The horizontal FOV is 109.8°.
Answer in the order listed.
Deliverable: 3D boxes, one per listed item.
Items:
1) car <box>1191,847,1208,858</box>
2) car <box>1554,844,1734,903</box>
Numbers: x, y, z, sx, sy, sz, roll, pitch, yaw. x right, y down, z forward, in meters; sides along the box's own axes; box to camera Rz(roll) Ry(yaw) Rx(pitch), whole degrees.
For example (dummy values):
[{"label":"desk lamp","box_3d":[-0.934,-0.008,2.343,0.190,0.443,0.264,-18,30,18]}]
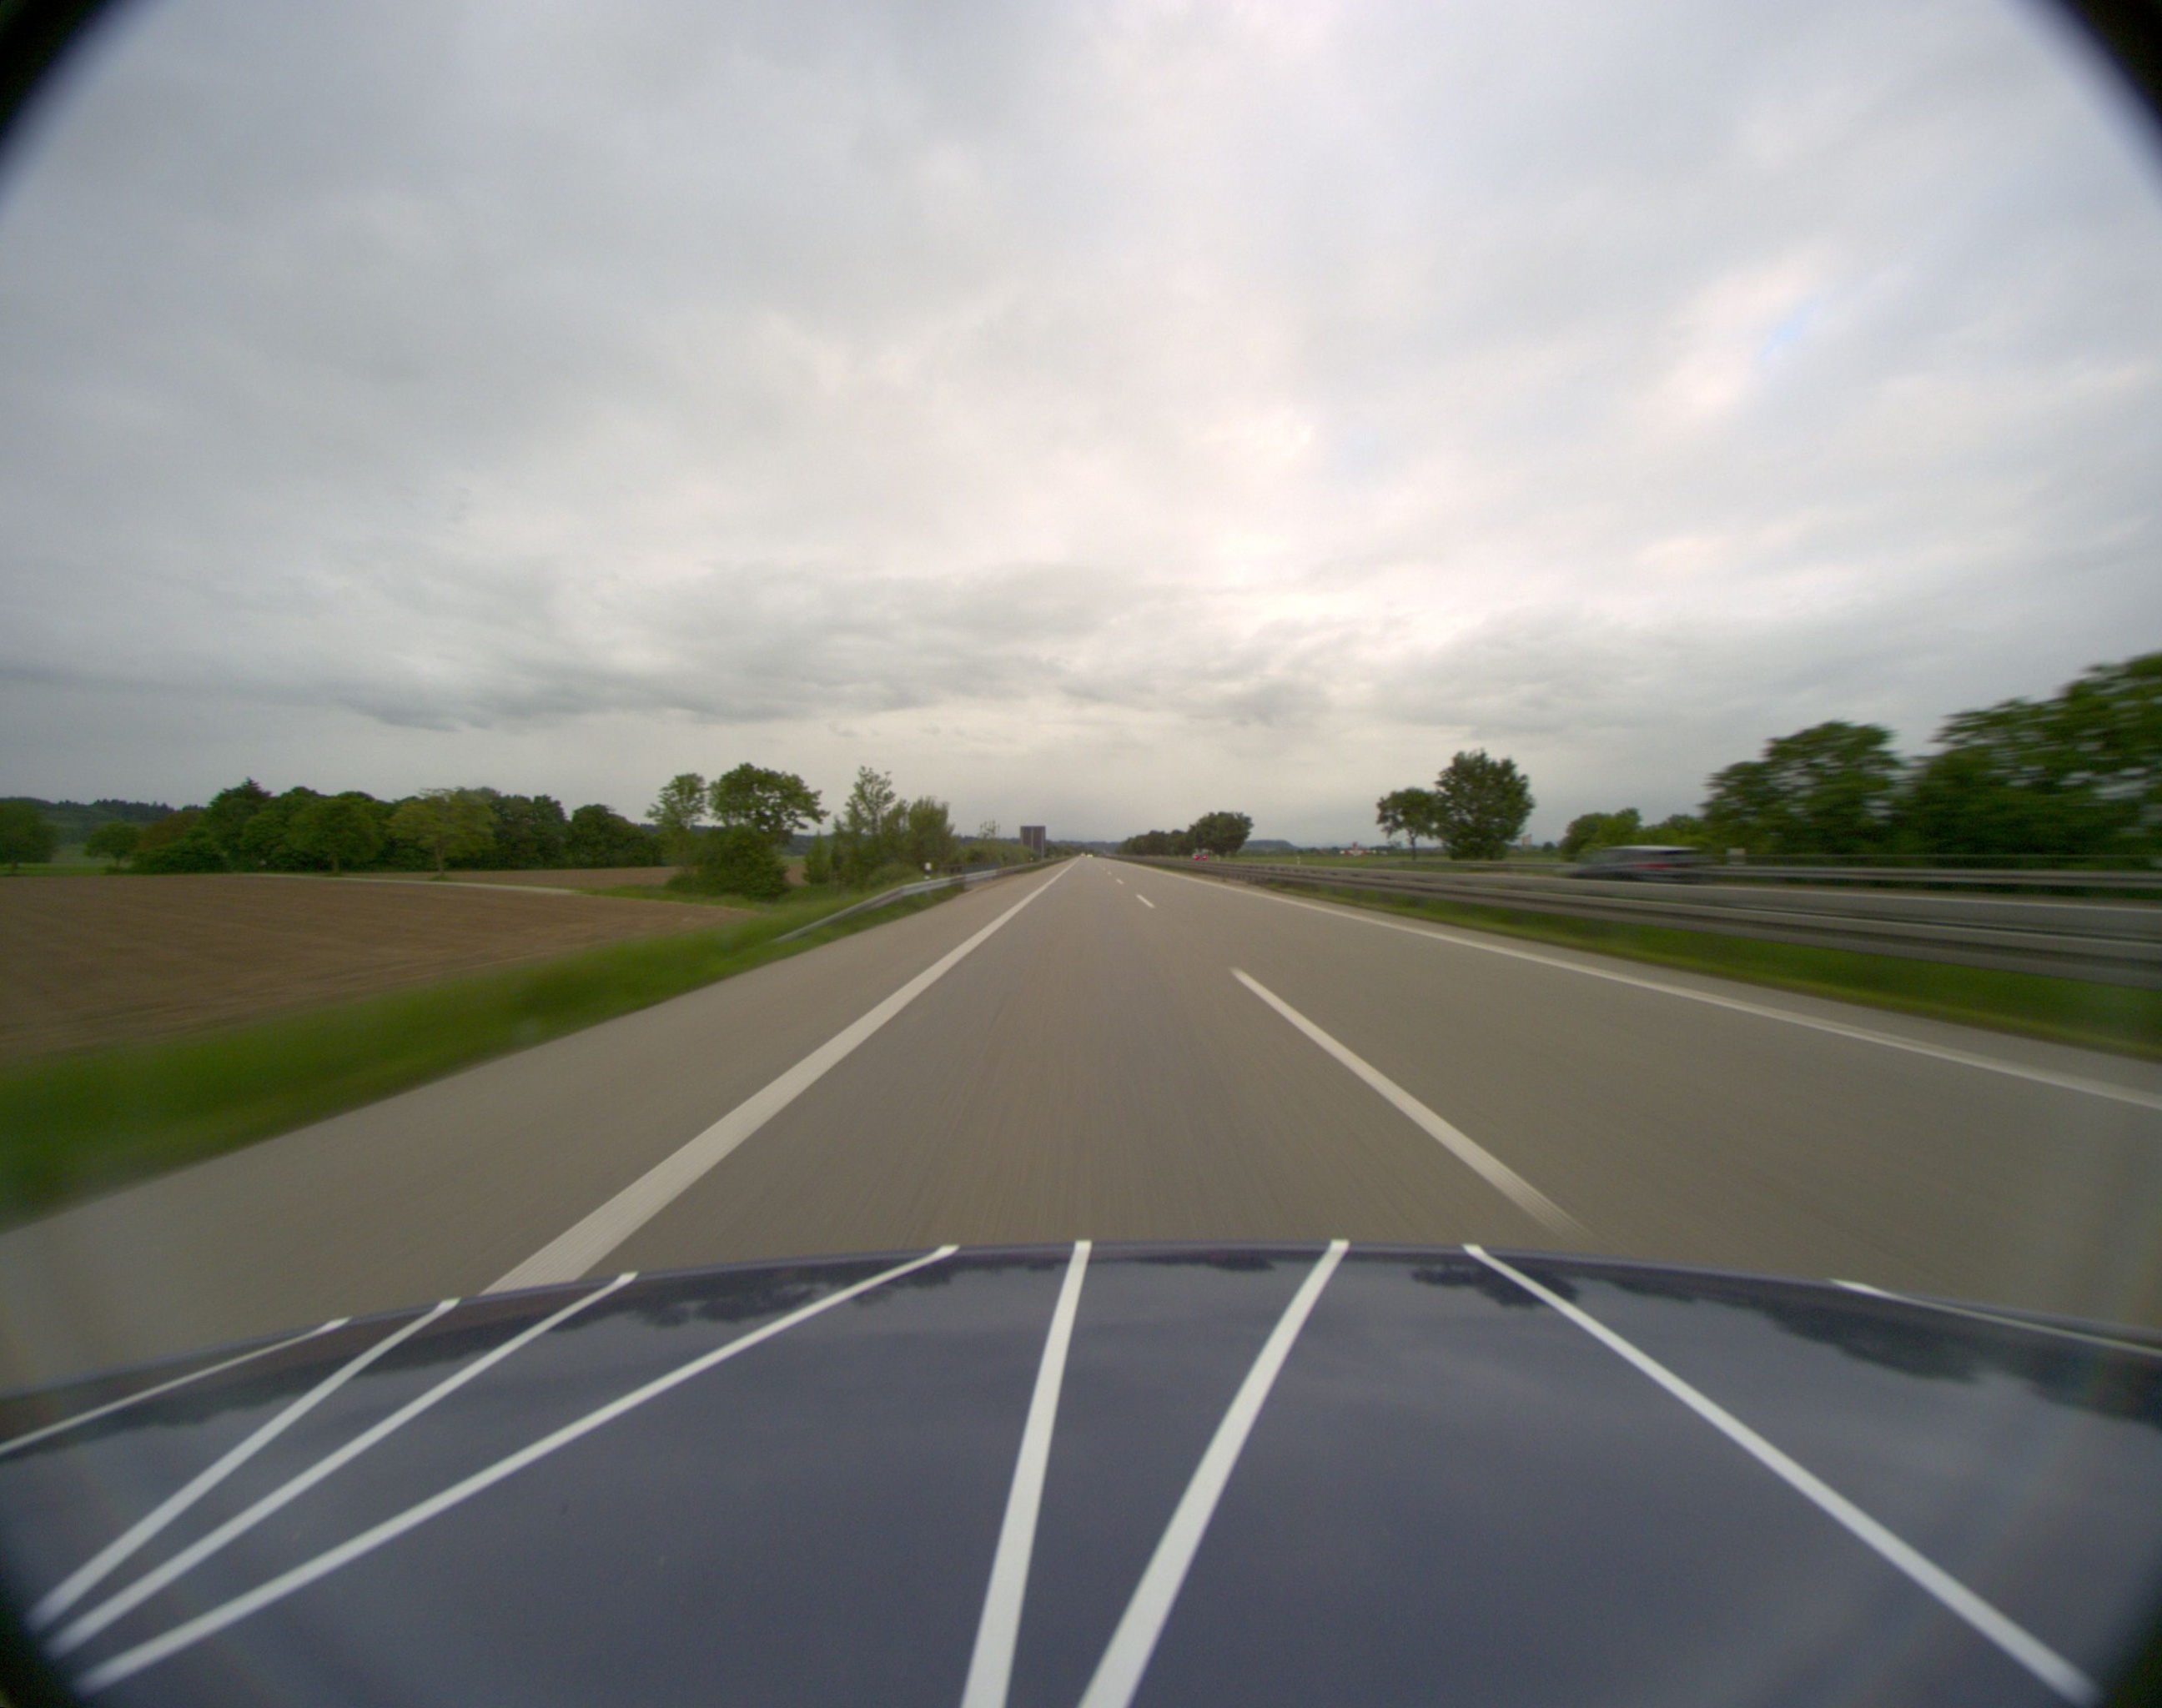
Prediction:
[{"label":"car","box_3d":[17.642,-0.241,113.434,1.822,1.553,4.523,-3,1,0]},{"label":"car","box_3d":[17.029,0.523,23.369,1.998,1.573,4.809,-2,1,1]}]
